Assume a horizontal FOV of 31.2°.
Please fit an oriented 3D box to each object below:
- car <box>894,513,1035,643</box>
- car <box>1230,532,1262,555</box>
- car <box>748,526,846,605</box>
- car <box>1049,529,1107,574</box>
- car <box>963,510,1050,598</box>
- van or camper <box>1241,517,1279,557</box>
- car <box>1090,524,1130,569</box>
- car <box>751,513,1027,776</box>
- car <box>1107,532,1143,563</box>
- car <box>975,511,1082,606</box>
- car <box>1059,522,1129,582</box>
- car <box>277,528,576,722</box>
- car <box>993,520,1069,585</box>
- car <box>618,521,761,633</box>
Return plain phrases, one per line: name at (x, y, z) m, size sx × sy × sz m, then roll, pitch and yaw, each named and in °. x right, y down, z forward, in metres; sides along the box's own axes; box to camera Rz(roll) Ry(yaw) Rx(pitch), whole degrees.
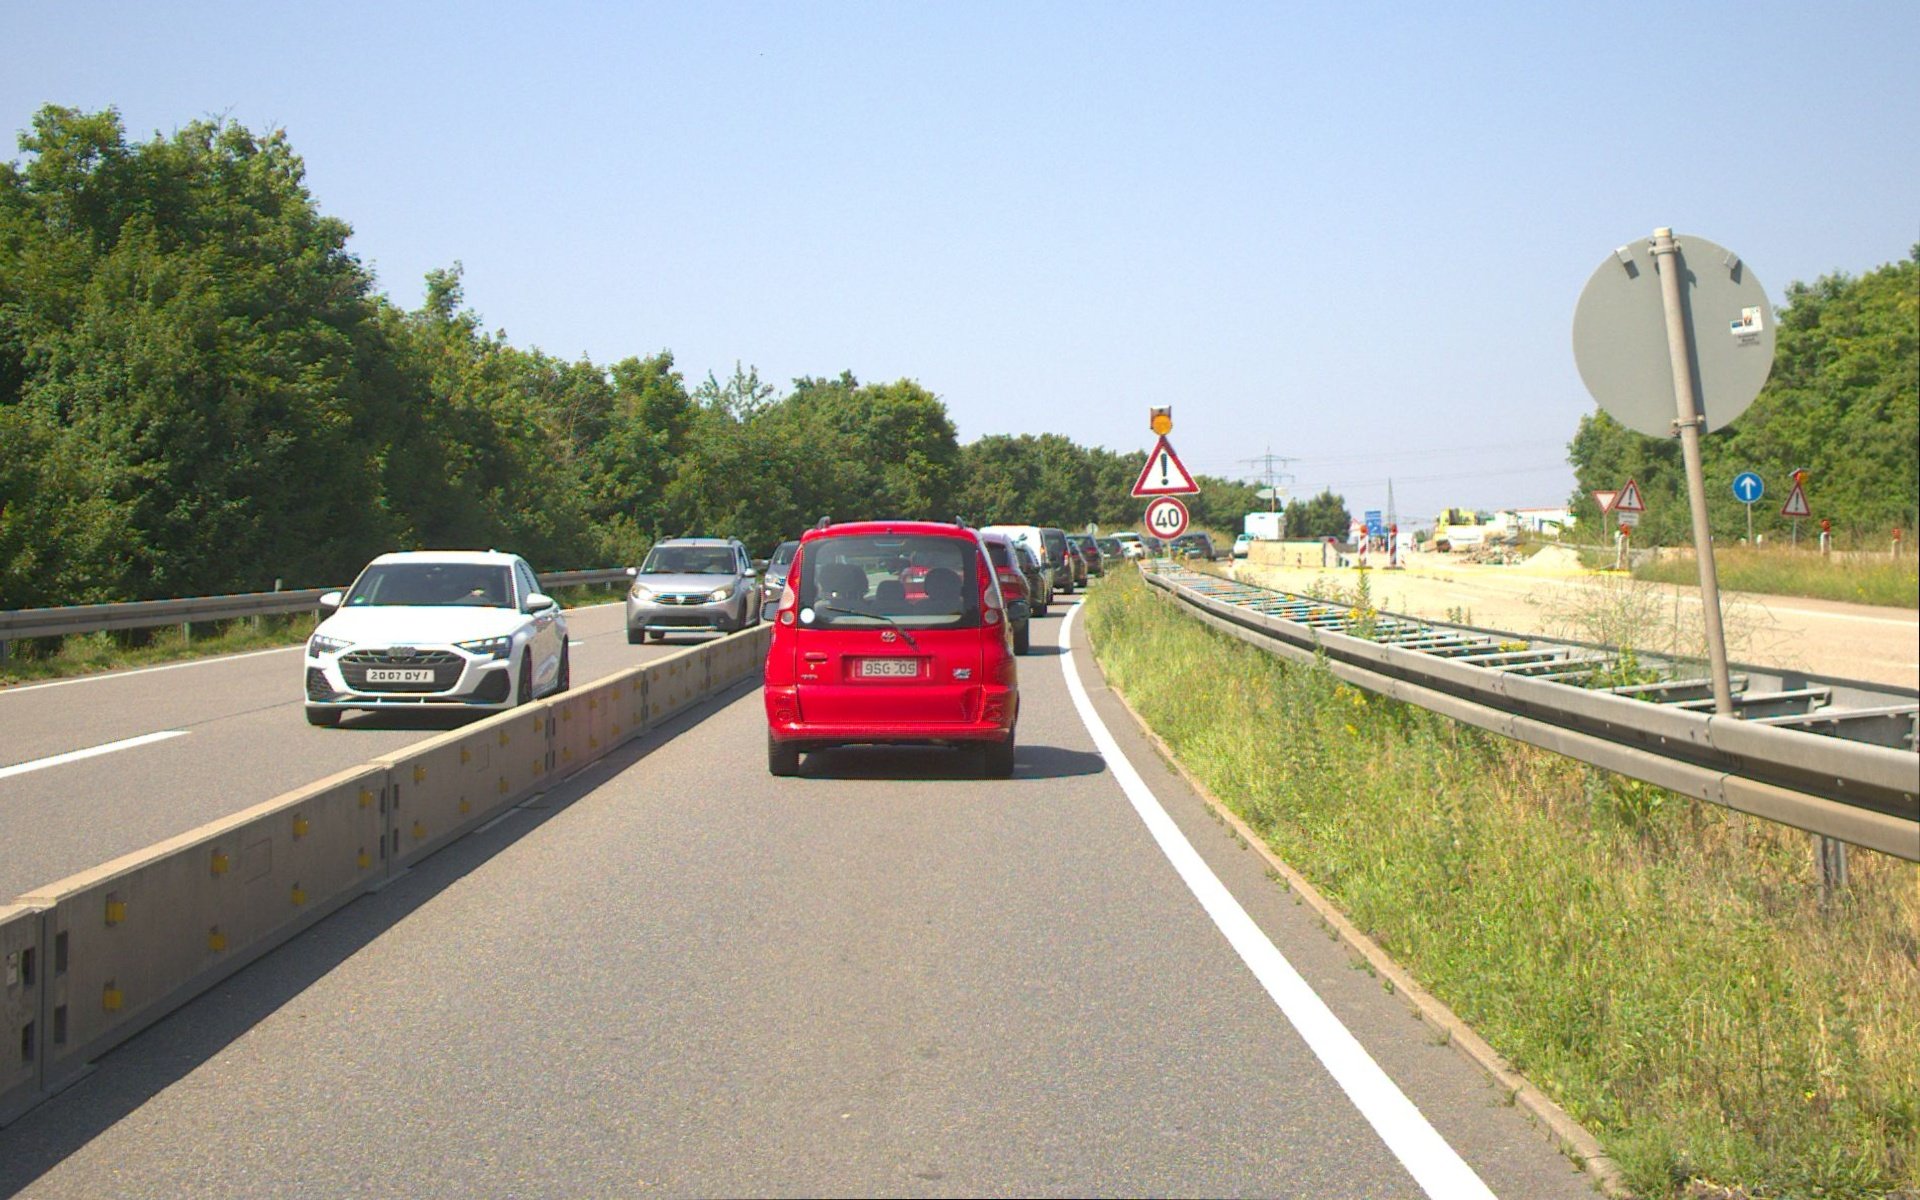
car at (0.019, -0.328, 47.613) m, size 1.830 × 1.716 × 4.000 m, roll -1°, pitch 1°, yaw -1°
car at (18.611, -3.671, 223.841) m, size 1.994 × 1.481 × 4.000 m, roll -1°, pitch 1°, yaw 3°
car at (-3.349, -0.727, 71.243) m, size 1.948 × 1.573 × 4.436 m, roll 0°, pitch 1°, yaw -2°
car at (4.158, -1.714, 121.801) m, size 1.993 × 1.579 × 4.000 m, roll 0°, pitch 1°, yaw 1°
car at (1.085, -1.095, 80.842) m, size 1.993 × 1.997 × 4.000 m, roll 0°, pitch 1°, yaw 1°
van or camper at (20.556, -4.326, 235.686) m, size 2.328 × 2.697 × 4.593 m, roll -1°, pitch 1°, yaw 1°
car at (5.988, -2.132, 136.945) m, size 1.502 × 1.730 × 3.169 m, roll 1°, pitch 1°, yaw 4°
car at (-0.495, 0.248, 23.798) m, size 1.751 × 1.667 × 4.000 m, roll 0°, pitch 1°, yaw -1°
car at (7.223, -2.303, 150.305) m, size 1.422 × 1.294 × 2.878 m, roll -1°, pitch 1°, yaw 6°
car at (1.329, -0.824, 68.227) m, size 1.993 × 1.831 × 4.000 m, roll 0°, pitch 1°, yaw -1°
car at (4.101, -1.475, 105.403) m, size 1.993 × 1.777 × 4.000 m, roll -1°, pitch 1°, yaw 0°
car at (-4.504, 0.169, 29.658) m, size 1.948 × 1.533 × 4.436 m, roll 0°, pitch 1°, yaw -1°
car at (1.915, -1.307, 93.923) m, size 1.993 × 1.744 × 4.000 m, roll 0°, pitch 1°, yaw 0°
car at (-4.026, -0.356, 51.645) m, size 1.829 × 1.624 × 3.784 m, roll 0°, pitch 1°, yaw 0°
